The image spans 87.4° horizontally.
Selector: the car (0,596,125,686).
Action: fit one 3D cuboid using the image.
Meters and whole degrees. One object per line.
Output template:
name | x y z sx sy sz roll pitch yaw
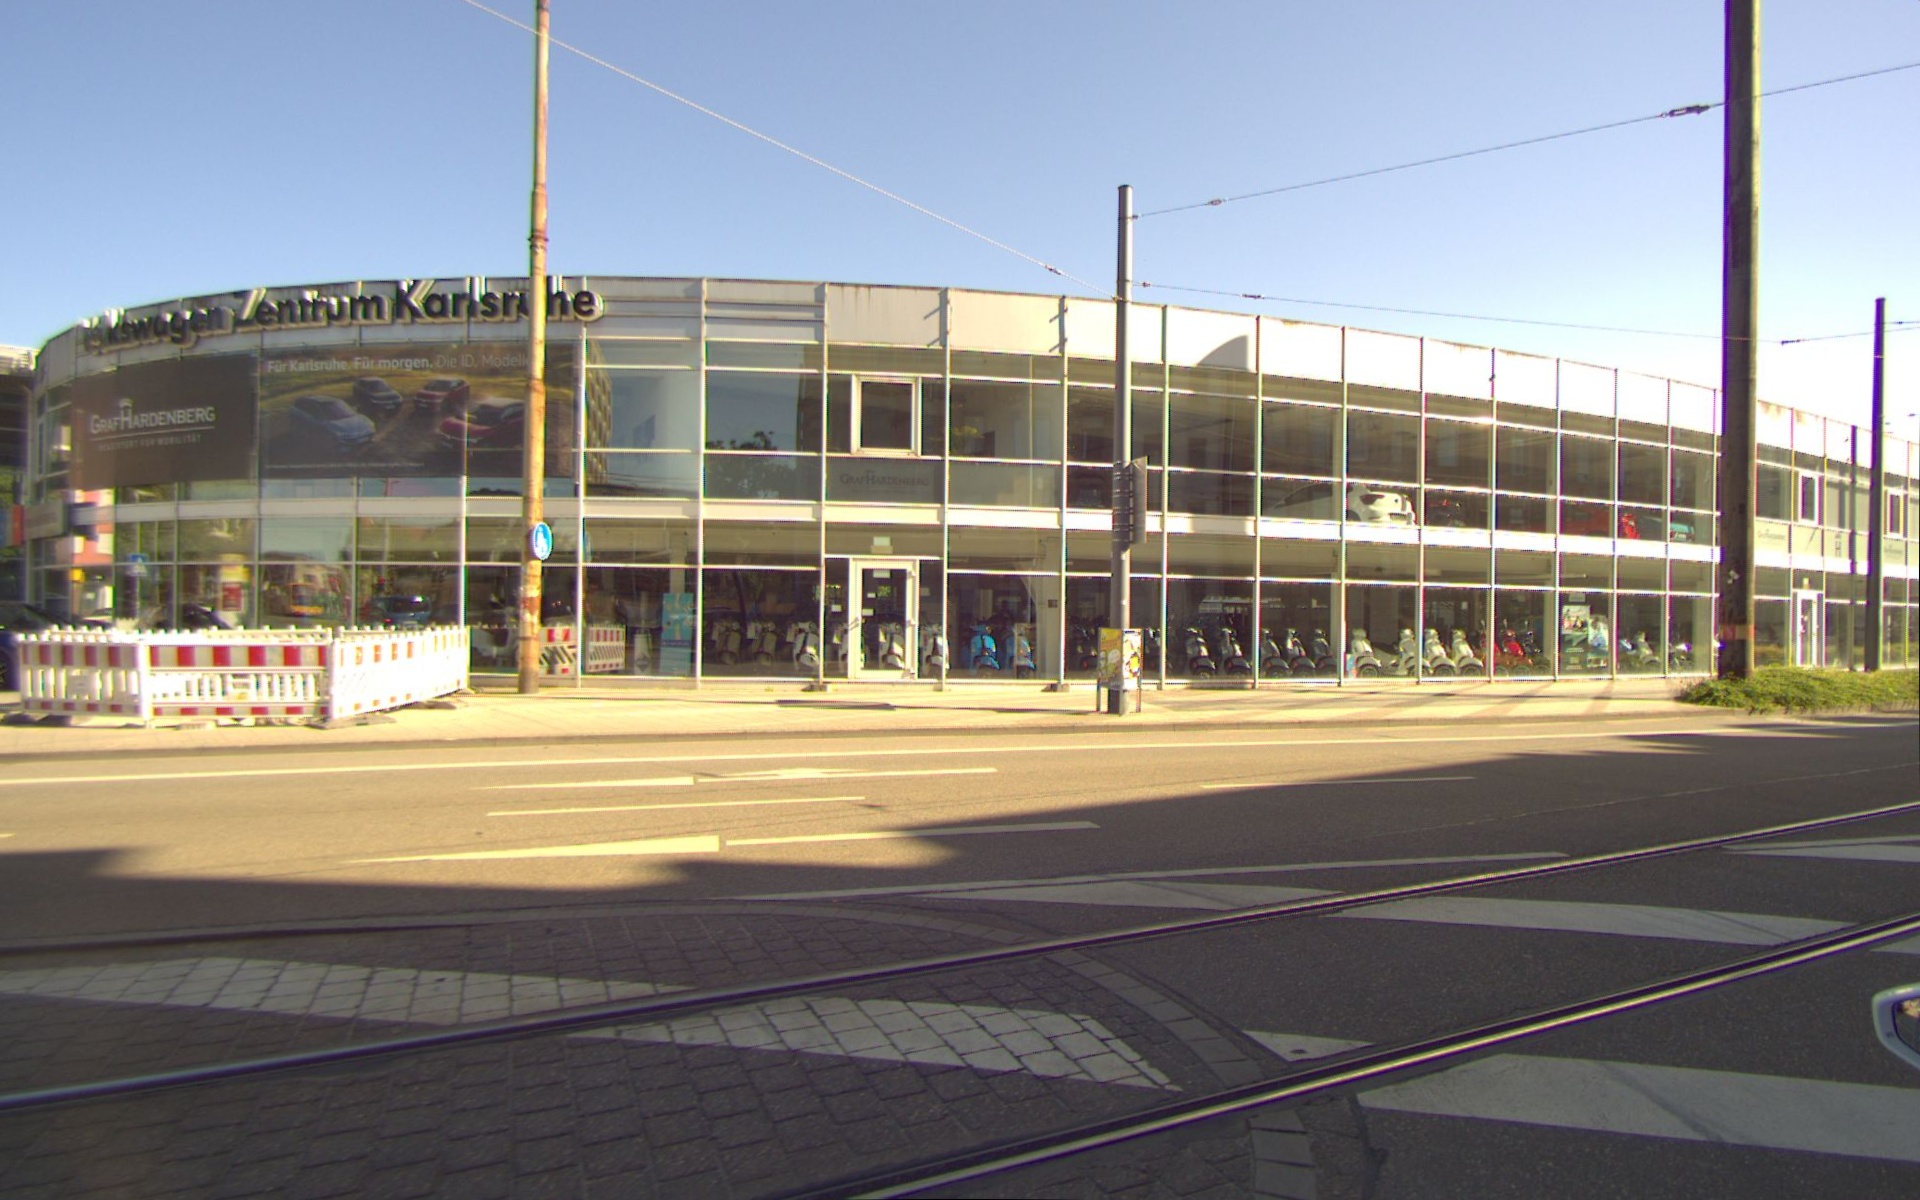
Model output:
car | -18.065 0.706 18.681 3.919 1.557 1.760 0 0 10
